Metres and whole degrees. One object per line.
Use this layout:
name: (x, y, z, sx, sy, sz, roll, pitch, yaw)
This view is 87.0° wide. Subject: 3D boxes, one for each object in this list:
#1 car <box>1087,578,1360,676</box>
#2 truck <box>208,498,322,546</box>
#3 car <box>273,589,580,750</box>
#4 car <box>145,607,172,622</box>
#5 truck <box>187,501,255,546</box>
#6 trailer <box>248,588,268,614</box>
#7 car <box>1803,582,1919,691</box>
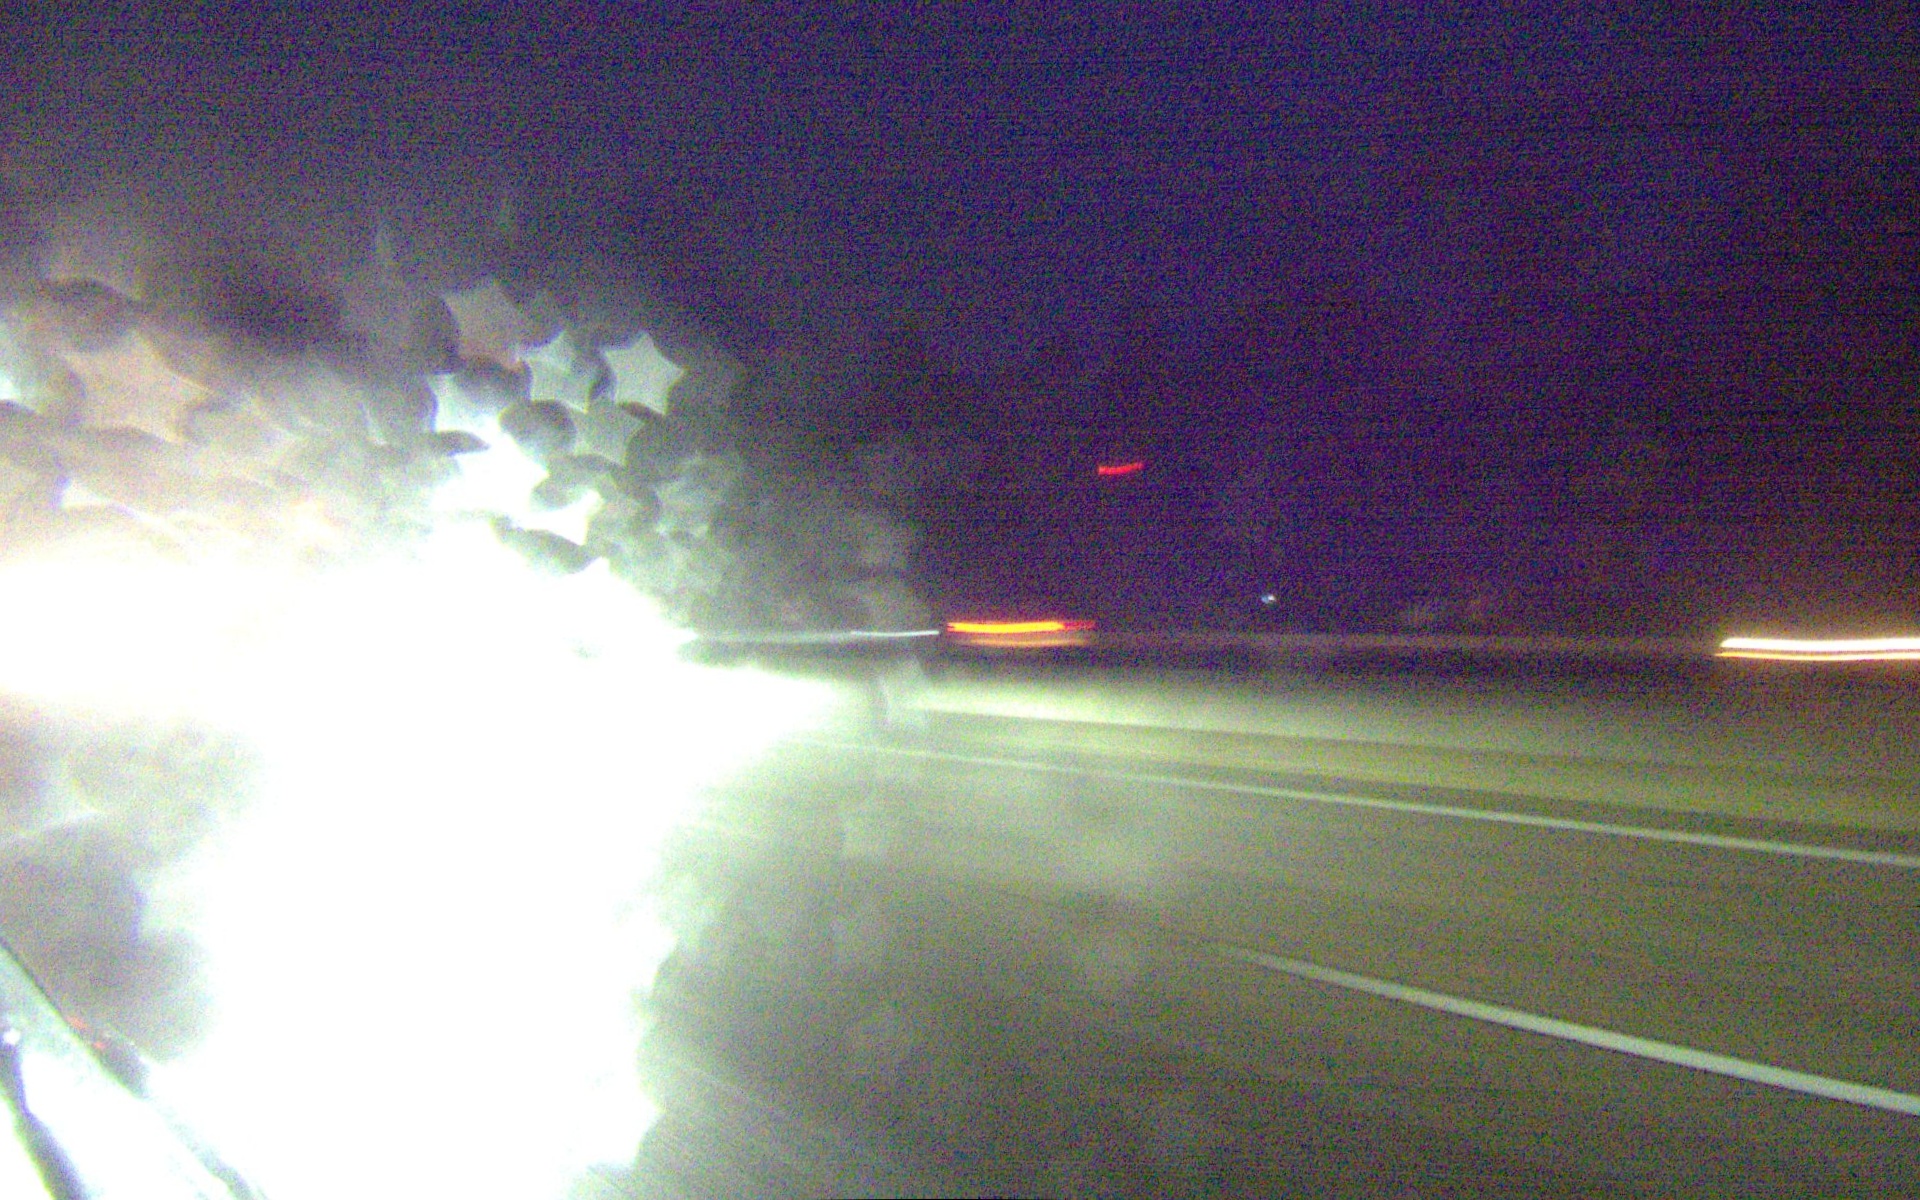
car: (4.880, 0.477, 19.136, 4.697, 1.644, 1.755, -1, -1, 39)
truck: (-61.333, -6.809, 89.246, 11.150, 3.808, 2.401, 0, 0, 21)
car: (-7.839, 0.880, 14.563, 5.553, 1.899, 2.114, -2, -1, 42)
car: (-82.324, 1.465, 103.924, 1.722, 1.504, 4.003, -1, 0, -44)
truck: (-66.636, -6.884, 91.248, 5.390, 3.808, 2.401, 0, 0, 21)
trailer: (-138.158, 0.102, 199.252, 2.736, 5.012, 14.146, 0, 1, -33)
car: (15.546, 0.539, 15.505, 3.998, 1.644, 1.753, -1, -1, 41)
